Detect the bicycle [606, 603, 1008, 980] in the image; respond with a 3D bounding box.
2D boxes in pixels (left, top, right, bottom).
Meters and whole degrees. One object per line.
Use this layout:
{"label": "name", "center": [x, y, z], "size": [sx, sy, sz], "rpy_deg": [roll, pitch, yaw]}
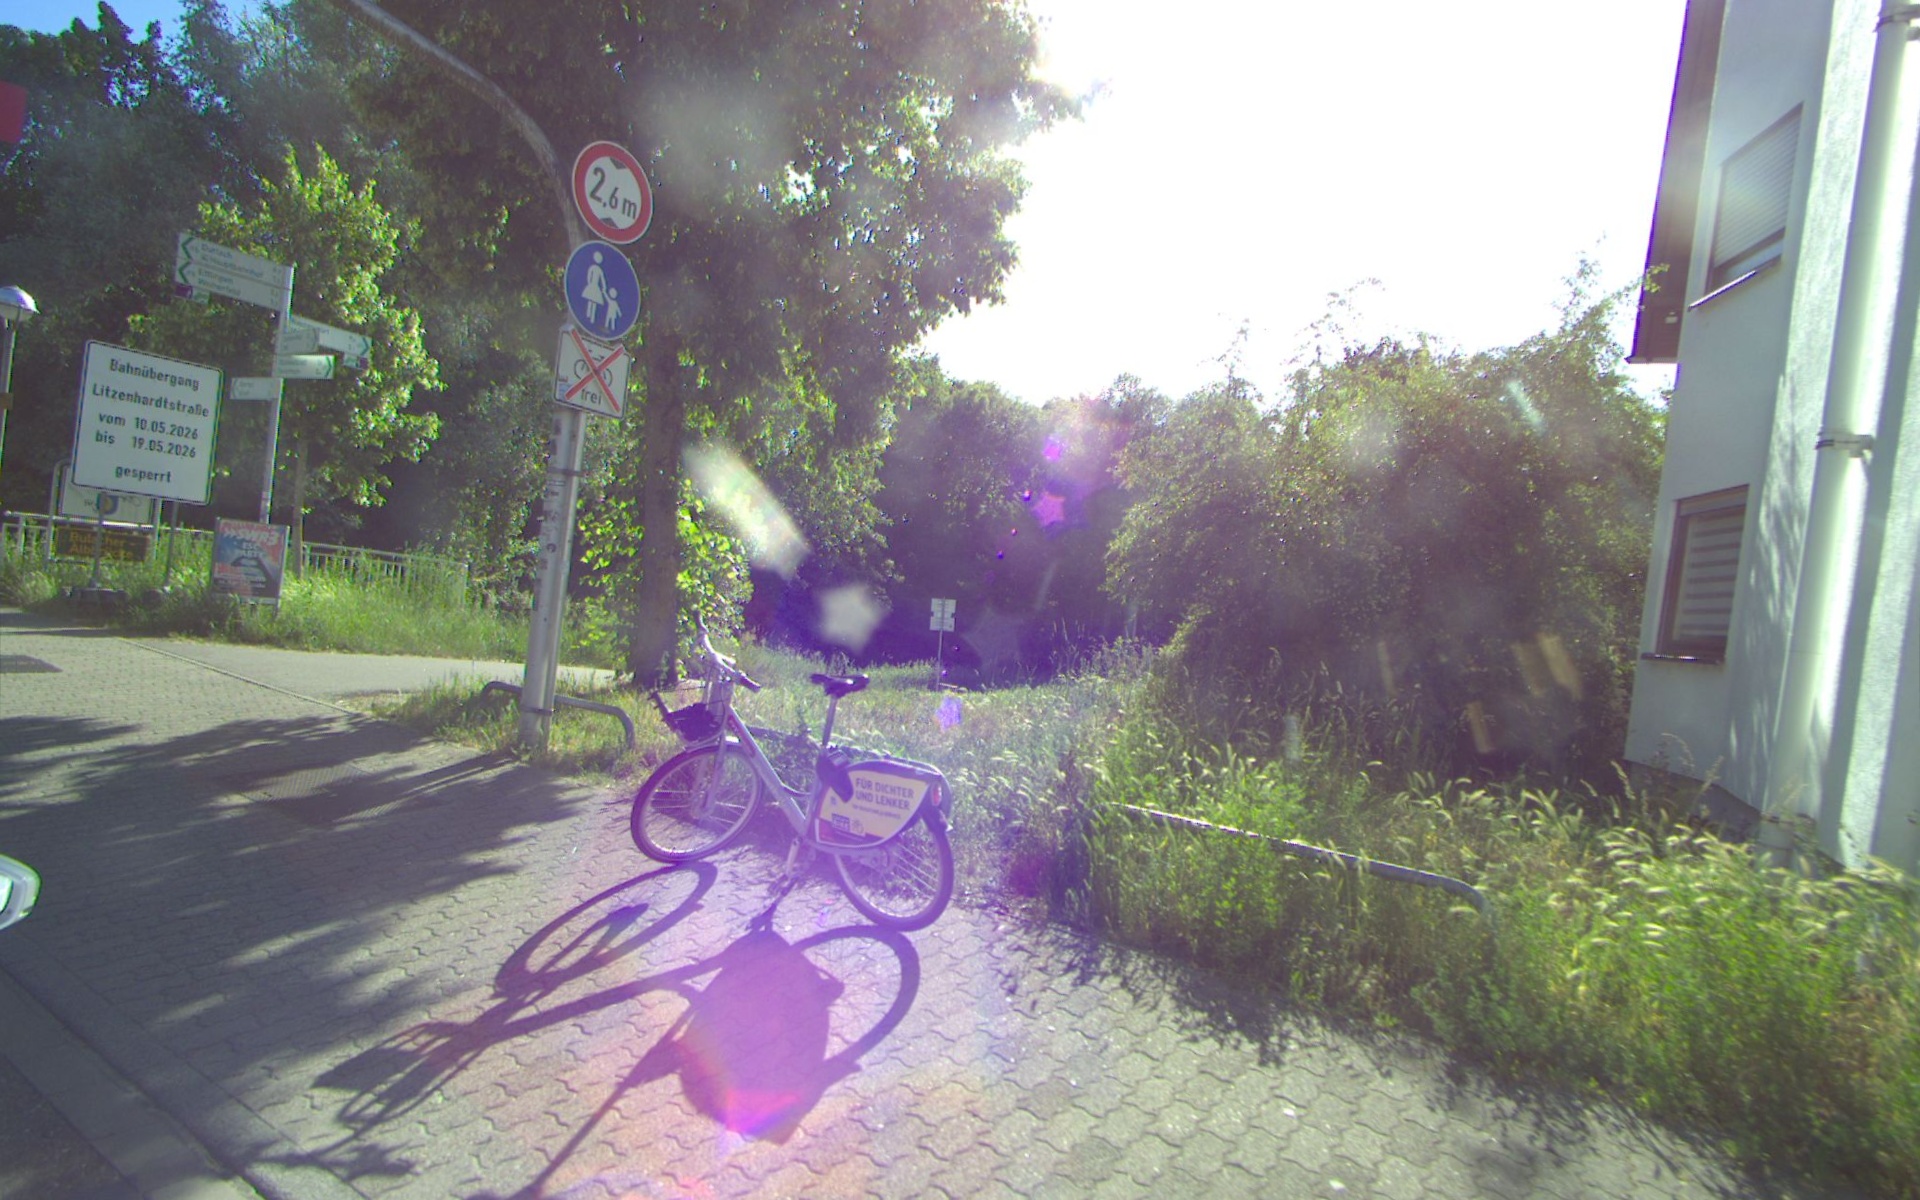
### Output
{"label": "bicycle", "center": [-0.664, 0.676, 4.176], "size": [1.514, 1.174, 0.688], "rpy_deg": [7, 5, 31]}
